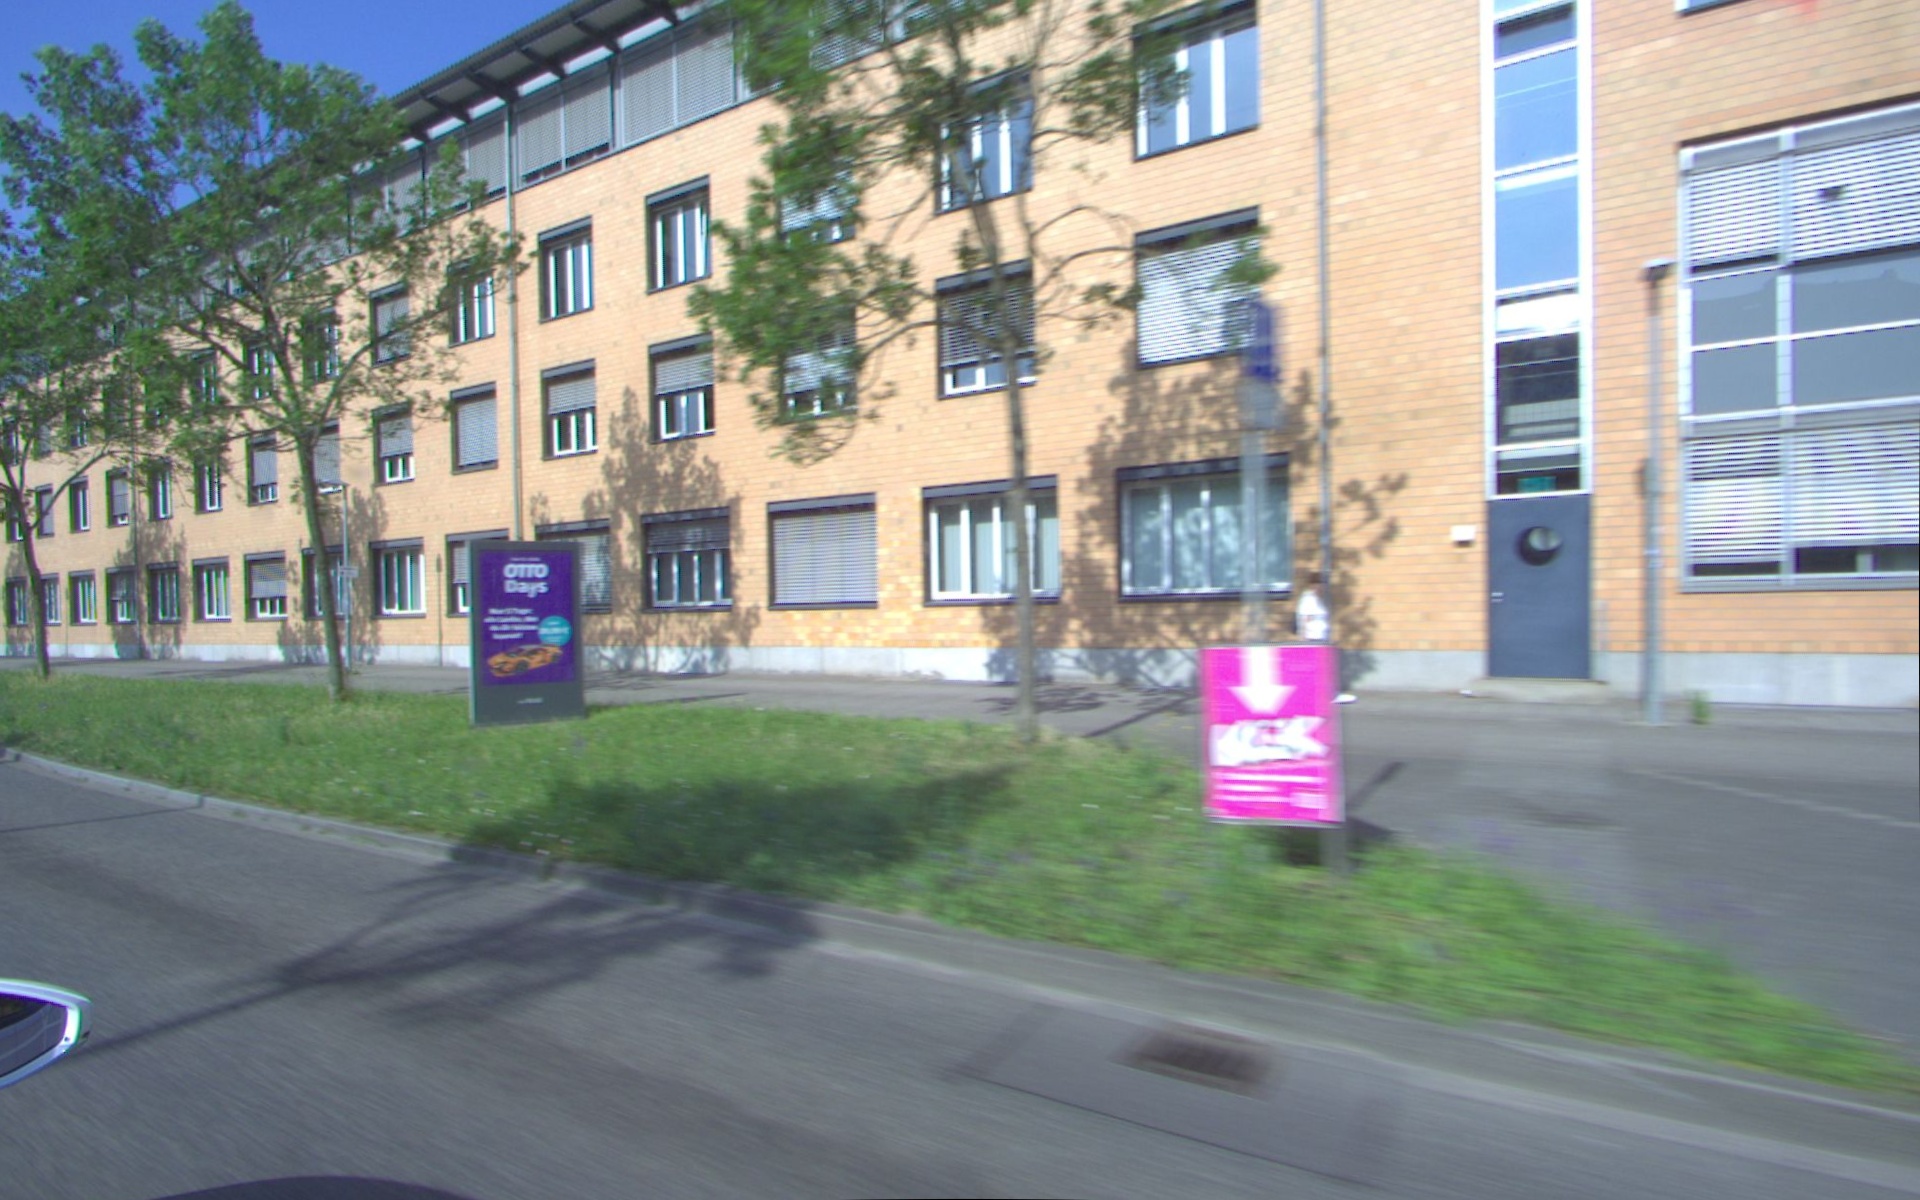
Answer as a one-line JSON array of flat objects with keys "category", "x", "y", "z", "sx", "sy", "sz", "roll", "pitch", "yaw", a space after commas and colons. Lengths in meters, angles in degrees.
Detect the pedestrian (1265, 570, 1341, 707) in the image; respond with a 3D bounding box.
[{"category": "pedestrian", "x": 4.383, "y": 0.488, "z": 12.780, "sx": 0.762, "sy": 1.678, "sz": 0.694, "roll": -1, "pitch": -1, "yaw": 32}]
